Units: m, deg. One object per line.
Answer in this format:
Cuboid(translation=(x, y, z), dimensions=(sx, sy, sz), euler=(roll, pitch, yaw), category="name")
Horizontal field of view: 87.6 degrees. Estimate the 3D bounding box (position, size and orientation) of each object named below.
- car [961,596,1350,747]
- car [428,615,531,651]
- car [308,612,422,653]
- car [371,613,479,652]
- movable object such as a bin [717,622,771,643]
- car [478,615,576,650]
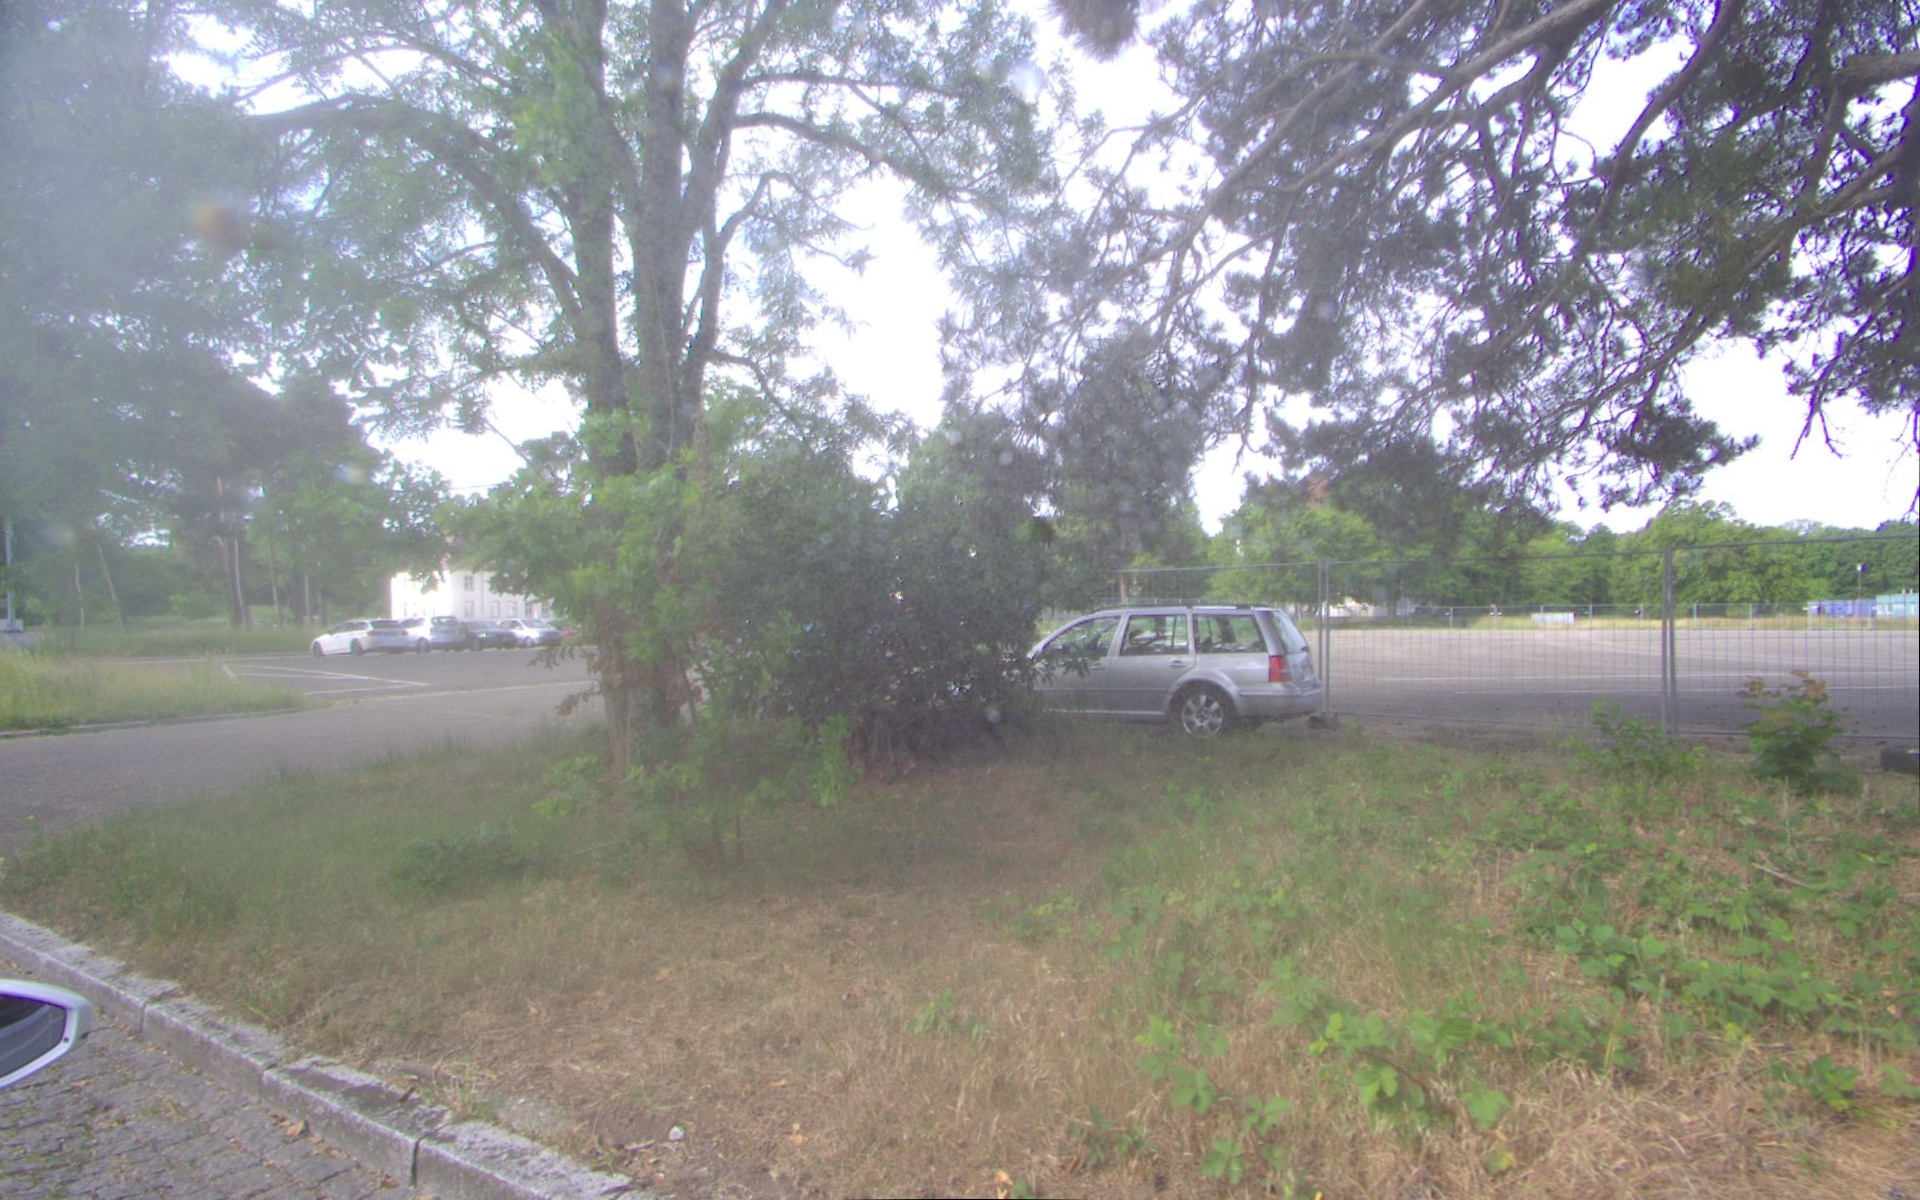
Cuboid(translation=(2.151, 0.760, 11.346), dimensions=(4.014, 1.444, 1.645), euler=(-1, -3, 31), category="car")
Cuboid(translation=(-21.434, 1.477, 44.682), dimensions=(4.359, 1.500, 1.991), euler=(-2, -1, 29), category="car")
Cuboid(translation=(-23.785, 1.290, 40.039), dimensions=(4.359, 1.500, 1.991), euler=(-2, -1, 29), category="car")
Cuboid(translation=(-22.602, 1.380, 42.266), dimensions=(4.359, 1.500, 1.991), euler=(-2, -1, 29), category="car")
Cuboid(translation=(-8.840, 1.317, 40.977), dimensions=(1.928, 0.836, 1.181), euler=(-1, -1, 37), category="movable object such as a bin")
Cuboid(translation=(-20.417, 1.558, 47.196), dimensions=(4.359, 1.542, 1.992), euler=(-2, -3, 29), category="car")
